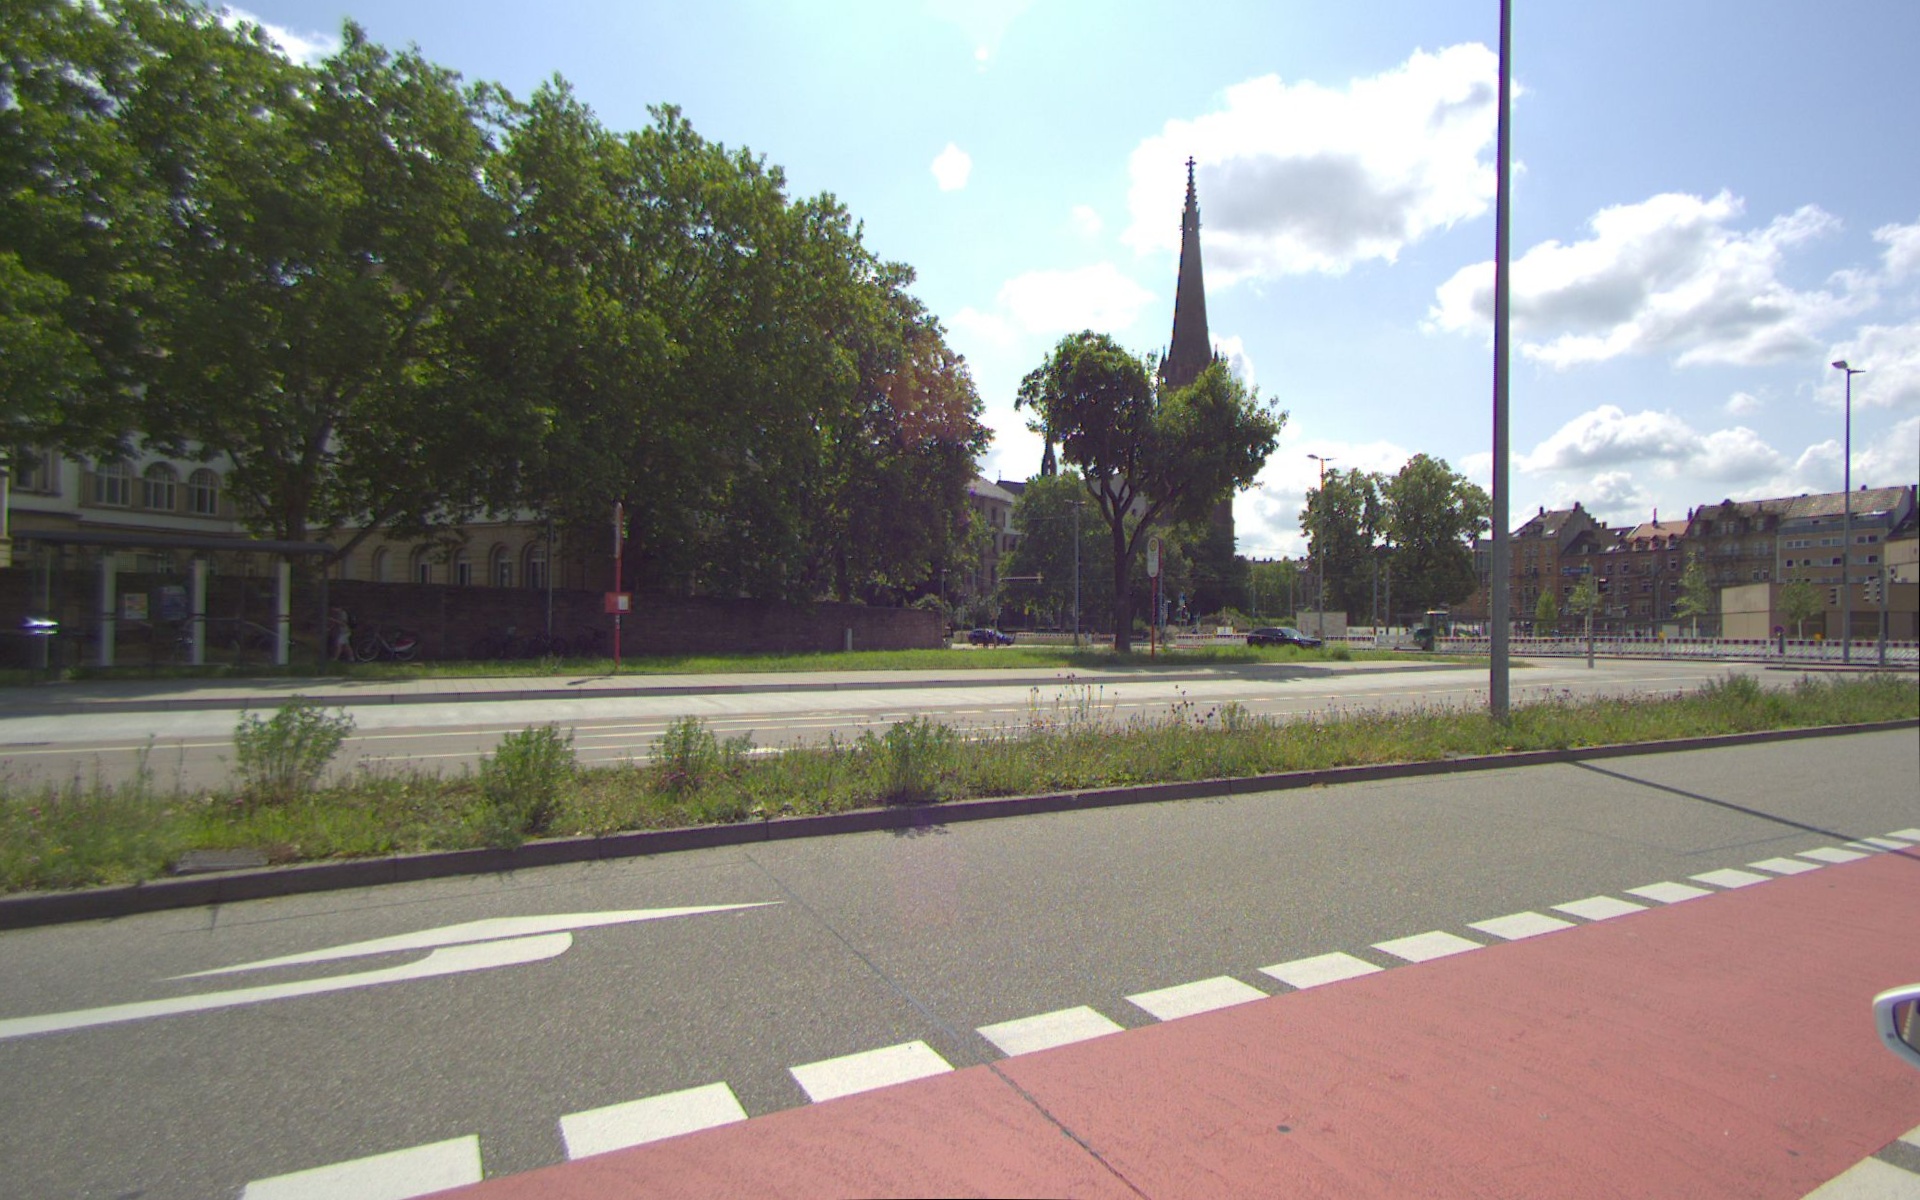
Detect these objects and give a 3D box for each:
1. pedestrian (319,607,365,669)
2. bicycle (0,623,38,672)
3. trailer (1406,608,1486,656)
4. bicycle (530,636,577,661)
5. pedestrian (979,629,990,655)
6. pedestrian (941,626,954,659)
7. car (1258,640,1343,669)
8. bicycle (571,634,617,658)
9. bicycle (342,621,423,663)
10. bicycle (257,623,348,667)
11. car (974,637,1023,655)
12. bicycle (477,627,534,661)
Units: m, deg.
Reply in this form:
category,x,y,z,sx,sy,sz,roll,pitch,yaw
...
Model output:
category,x,y,z,sx,sy,sz,roll,pitch,yaw
pedestrian,-16.604,1.022,26.988,0.710,1.632,0.779,0,-1,31
bicycle,-21.509,1.036,21.944,0.392,1.057,1.948,0,-2,40
trailer,32.021,2.075,66.317,4.277,2.952,2.001,2,0,7
bicycle,-13.493,1.592,33.363,0.391,0.799,1.462,0,-1,33
pedestrian,1.828,3.122,74.527,0.561,1.844,0.436,2,0,43
pedestrian,-0.676,2.306,54.718,0.479,1.718,0.679,2,0,21
car,19.578,3.113,57.892,1.976,1.505,4.475,1,-2,-30
bicycle,-12.620,1.576,34.655,0.391,0.799,1.540,0,-1,33
bicycle,-16.539,1.197,28.810,0.391,1.152,2.032,0,-2,36
bicycle,-17.713,1.204,27.109,0.391,1.152,2.032,0,-2,36
car,3.401,4.079,88.953,1.979,1.505,4.625,1,-2,-34
bicycle,-14.411,1.384,31.893,0.391,1.043,1.683,0,-1,33
